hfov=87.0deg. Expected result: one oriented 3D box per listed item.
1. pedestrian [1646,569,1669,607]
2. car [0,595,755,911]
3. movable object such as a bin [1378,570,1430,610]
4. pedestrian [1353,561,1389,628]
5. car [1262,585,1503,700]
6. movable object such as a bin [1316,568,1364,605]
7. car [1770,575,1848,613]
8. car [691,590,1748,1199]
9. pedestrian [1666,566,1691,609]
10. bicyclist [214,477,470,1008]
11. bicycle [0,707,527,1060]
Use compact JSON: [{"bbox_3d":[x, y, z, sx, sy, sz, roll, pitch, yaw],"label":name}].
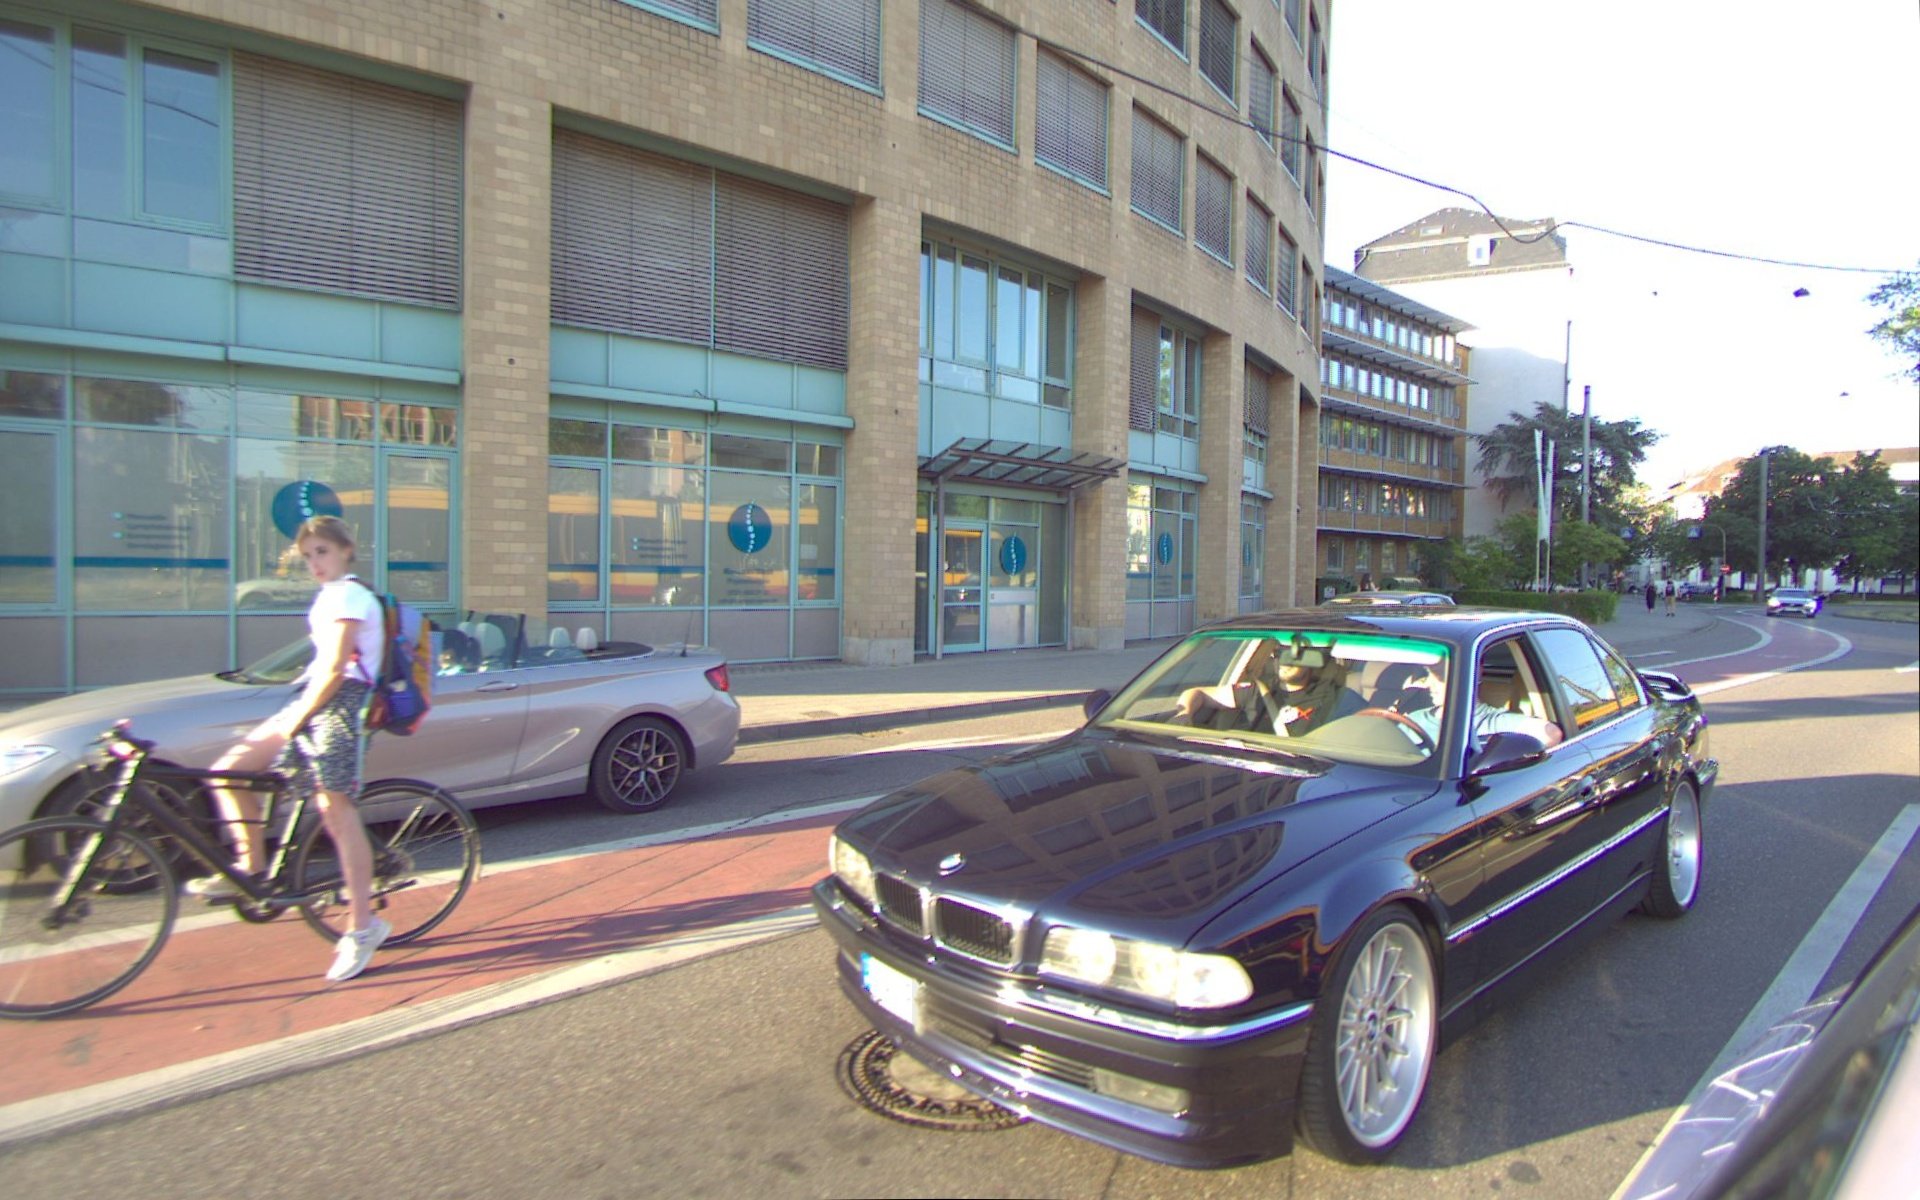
[{"bbox_3d":[34.027,-0.604,49.382,0.711,1.830,0.728,0,1,-41],"label":"pedestrian"},{"bbox_3d":[-3.585,0.692,6.461,4.153,1.402,1.747,-1,1,-40],"label":"car"},{"bbox_3d":[17.129,-0.408,39.029,1.311,1.477,1.424,-1,2,-45],"label":"movable object such as a bin"},{"bbox_3d":[10.622,-0.162,26.151,0.702,1.702,0.626,-1,2,-44],"label":"pedestrian"},{"bbox_3d":[6.263,0.511,14.810,3.932,1.404,1.757,-1,2,-42],"label":"car"},{"bbox_3d":[15.617,-0.566,41.581,1.311,1.477,1.425,-1,2,-43],"label":"movable object such as a bin"},{"bbox_3d":[41.554,-0.323,49.511,3.925,1.771,2.000,-1,2,-36],"label":"car"},{"bbox_3d":[1.479,0.681,4.222,4.657,1.402,1.997,-1,1,-41],"label":"car"},{"bbox_3d":[33.124,-0.587,46.650,0.906,1.918,1.111,1,1,37],"label":"pedestrian"},{"bbox_3d":[-2.439,0.484,4.000,0.764,1.843,0.634,0,2,-42],"label":"bicyclist"},{"bbox_3d":[-2.672,0.956,3.786,1.838,0.884,0.634,-1,2,-42],"label":"bicycle"}]
